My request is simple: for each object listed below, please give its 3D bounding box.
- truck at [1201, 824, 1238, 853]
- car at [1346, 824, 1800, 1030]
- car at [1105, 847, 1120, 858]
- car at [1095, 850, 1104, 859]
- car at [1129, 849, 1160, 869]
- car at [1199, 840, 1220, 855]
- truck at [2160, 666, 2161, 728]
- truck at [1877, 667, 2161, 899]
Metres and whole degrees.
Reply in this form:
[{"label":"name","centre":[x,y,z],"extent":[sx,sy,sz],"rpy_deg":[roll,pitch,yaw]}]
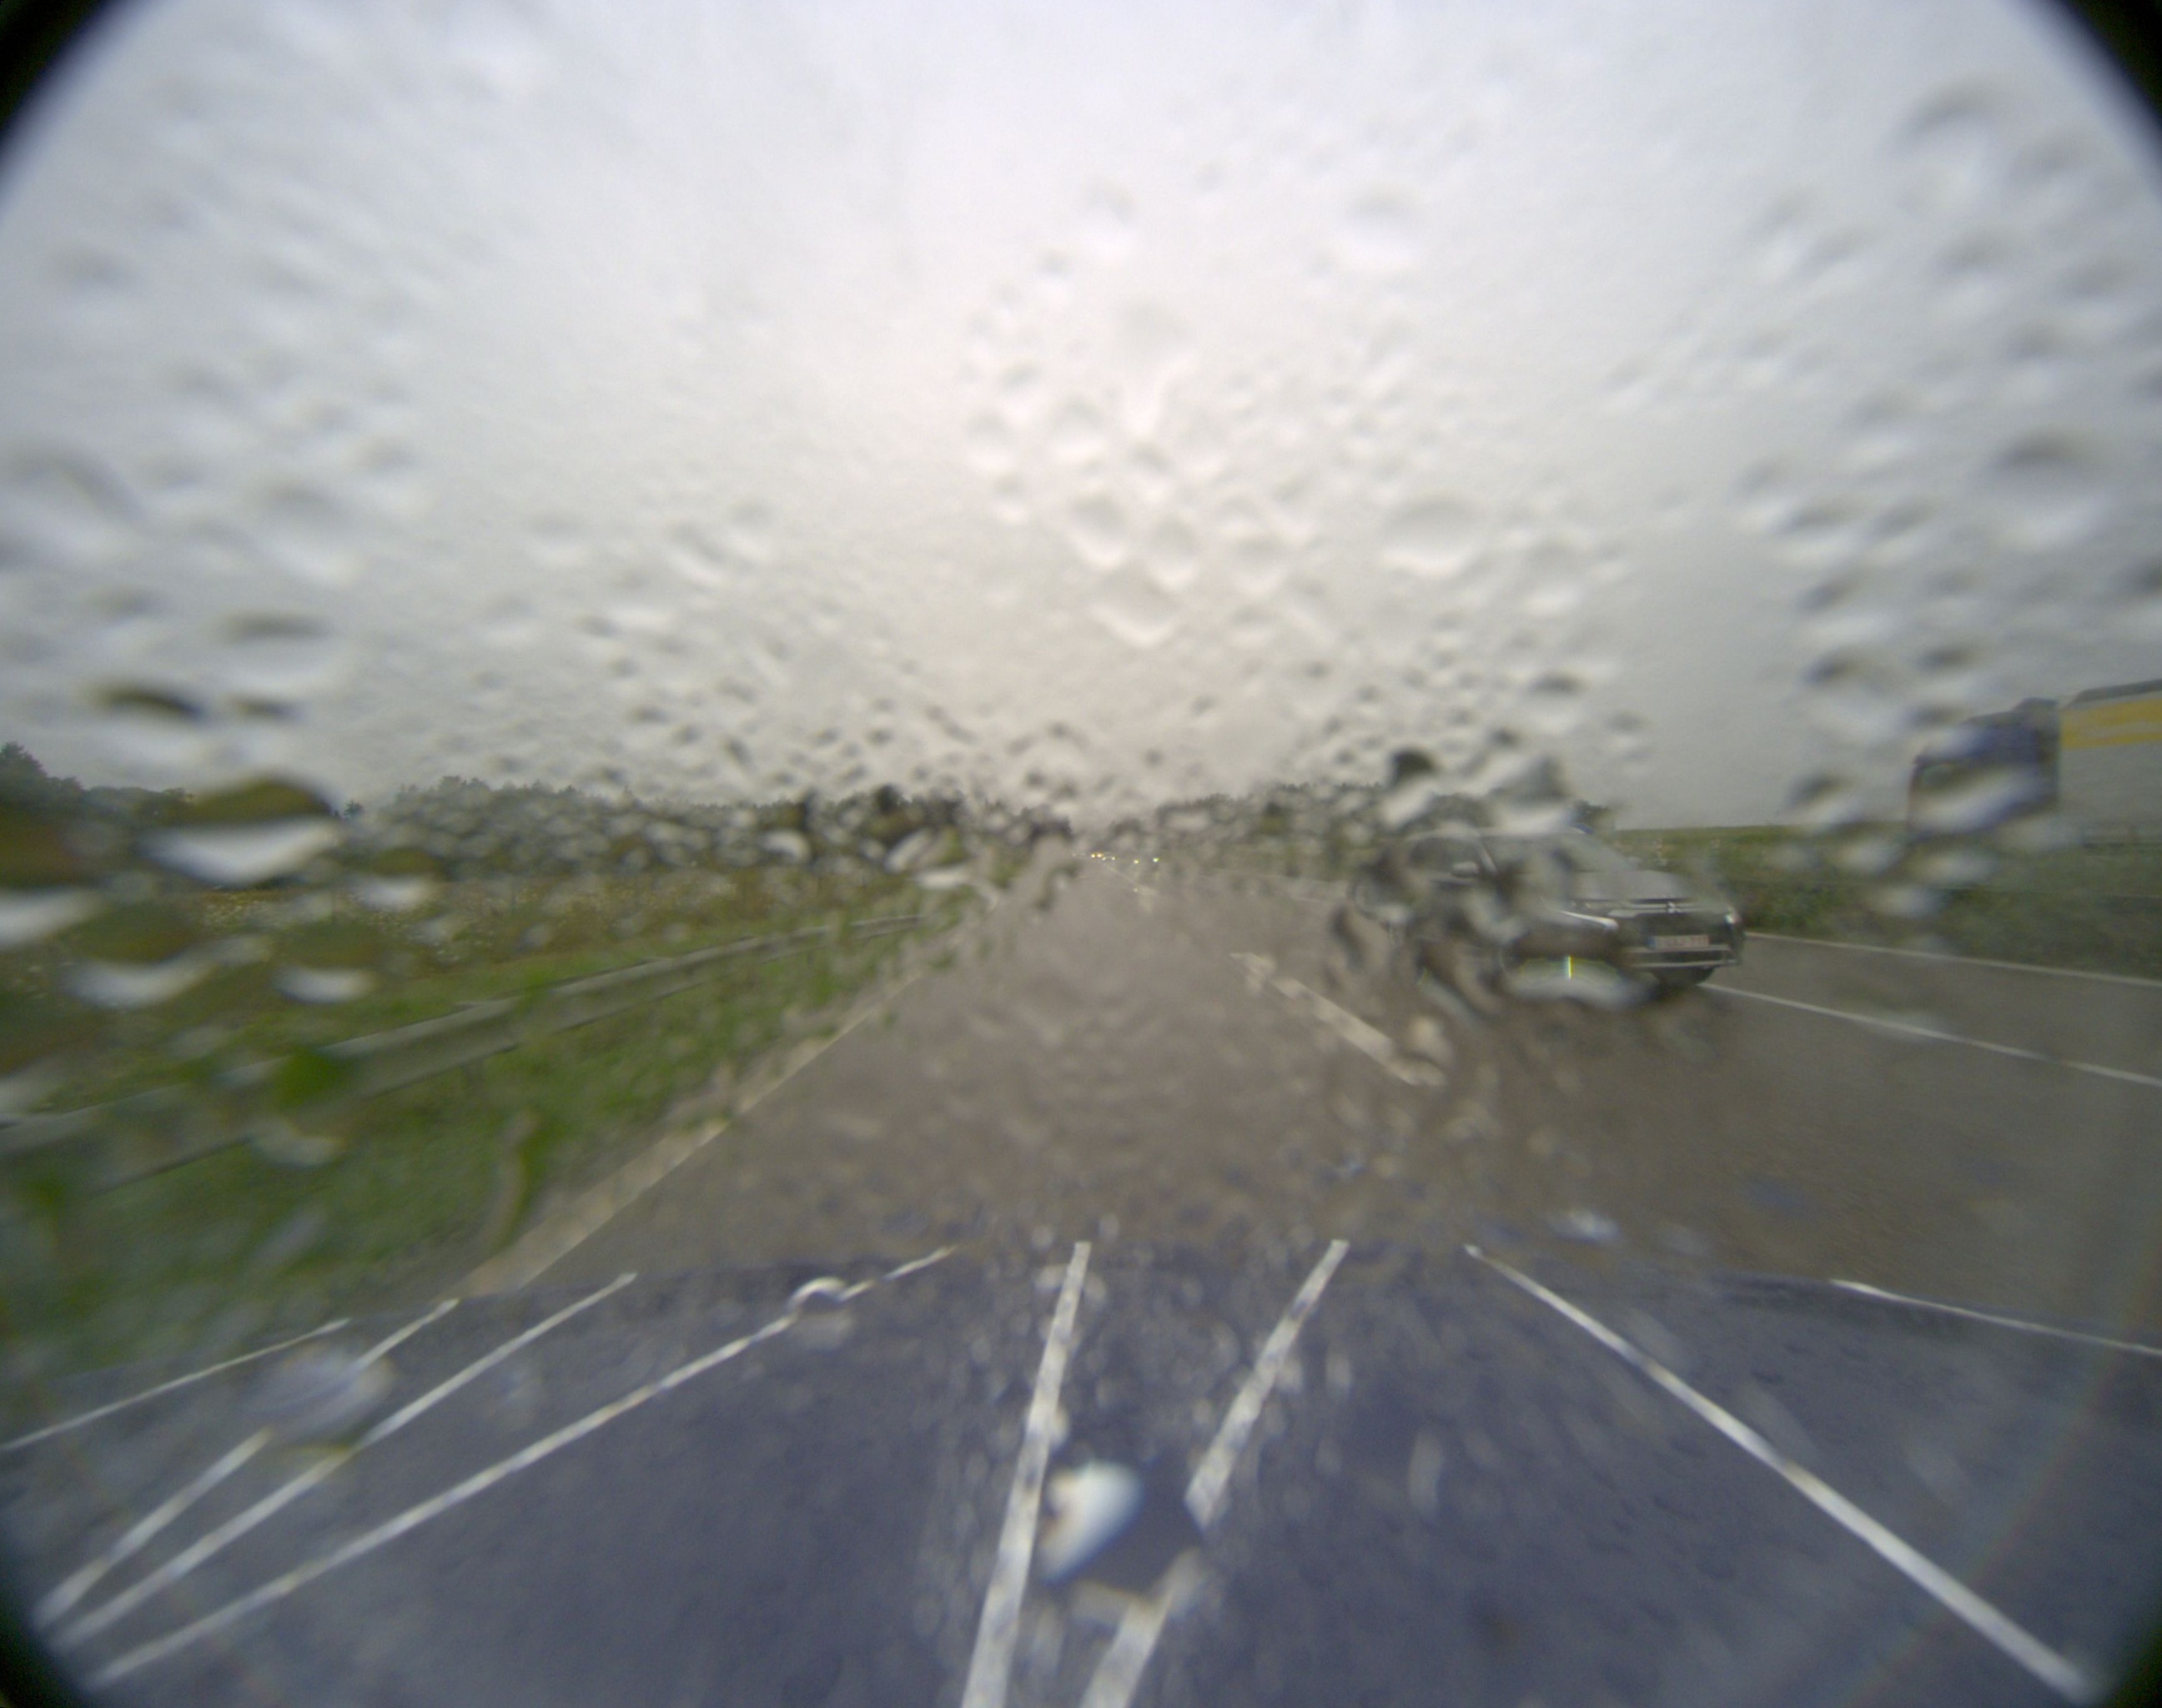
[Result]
[{"label":"truck","centre":[20.960,-2.352,115.845],"extent":[3.202,3.943,13.812],"rpy_deg":[-4,1,1]},{"label":"car","centre":[4.952,0.579,8.807],"extent":[1.867,1.625,5.100],"rpy_deg":[-2,1,-1]},{"label":"car","centre":[4.830,-0.291,115.771],"extent":[2.150,1.627,4.595],"rpy_deg":[-1,1,1]},{"label":"car","centre":[4.387,0.116,181.053],"extent":[1.998,2.001,4.642],"rpy_deg":[0,-1,3]},{"label":"car","centre":[4.911,0.389,59.061],"extent":[2.099,1.445,4.595],"rpy_deg":[-1,1,1]},{"label":"car","centre":[17.549,-0.886,103.923],"extent":[2.110,1.865,4.531],"rpy_deg":[-3,1,1]},{"label":"truck","centre":[19.780,-1.225,5.179],"extent":[3.202,3.943,15.317],"rpy_deg":[-4,1,1]},{"label":"truck","centre":[19.996,-1.318,14.178],"extent":[3.202,3.944,6.662],"rpy_deg":[-4,1,1]}]
